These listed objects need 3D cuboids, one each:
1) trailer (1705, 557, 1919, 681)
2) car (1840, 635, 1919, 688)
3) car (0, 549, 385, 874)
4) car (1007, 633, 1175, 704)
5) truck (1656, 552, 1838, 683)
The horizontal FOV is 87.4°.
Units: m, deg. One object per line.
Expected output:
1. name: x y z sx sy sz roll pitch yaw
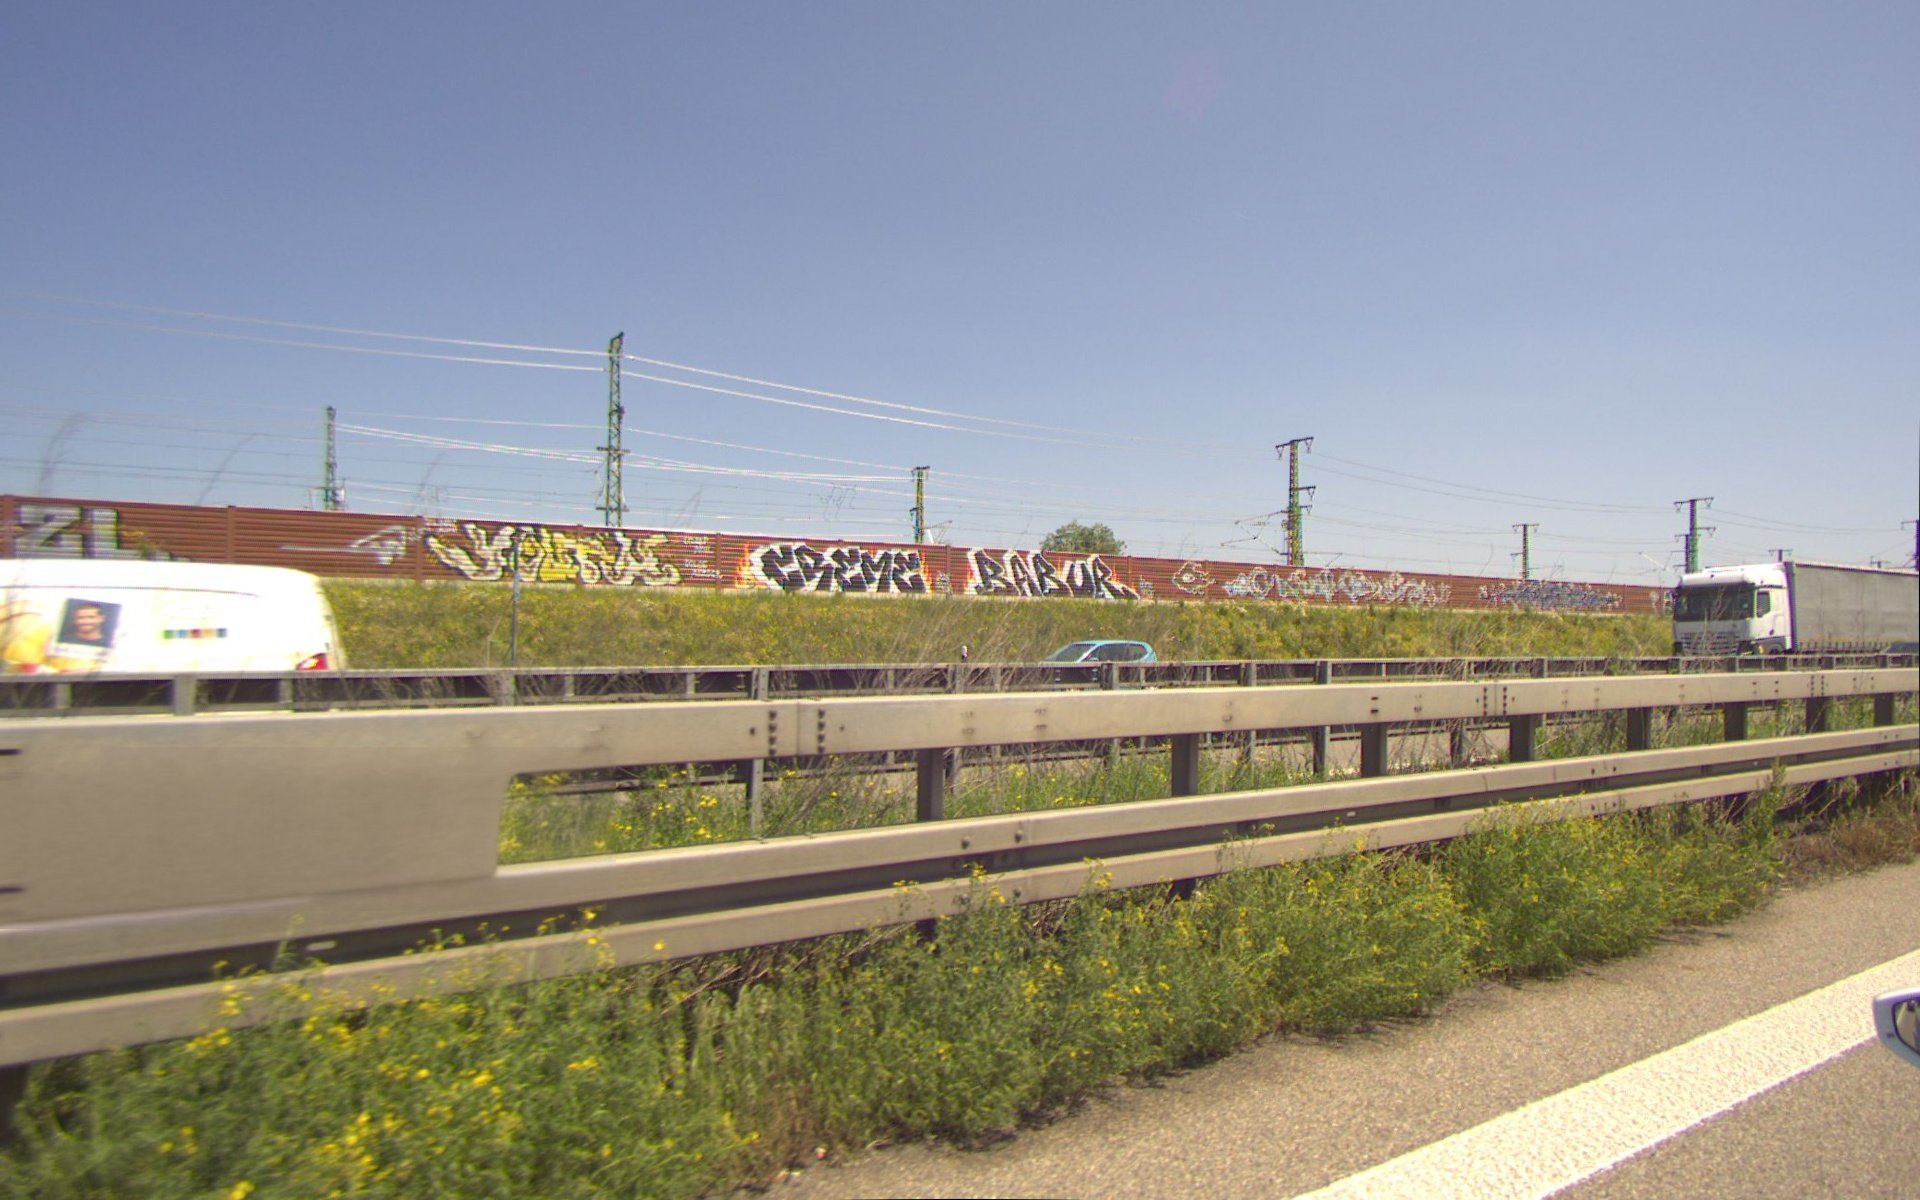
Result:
1. trailer: 32.899 0.799 37.754 13.366 4.128 2.718 1 -2 -30
2. car: 28.932 1.860 30.898 3.790 1.481 1.637 1 0 -29
3. car: -6.152 0.617 6.171 4.484 1.809 1.808 1 -1 -30
4. car: 3.198 1.612 24.398 3.790 1.539 1.746 1 -1 -30
5. truck: 26.932 0.652 34.334 6.304 4.126 2.718 1 -2 -29
